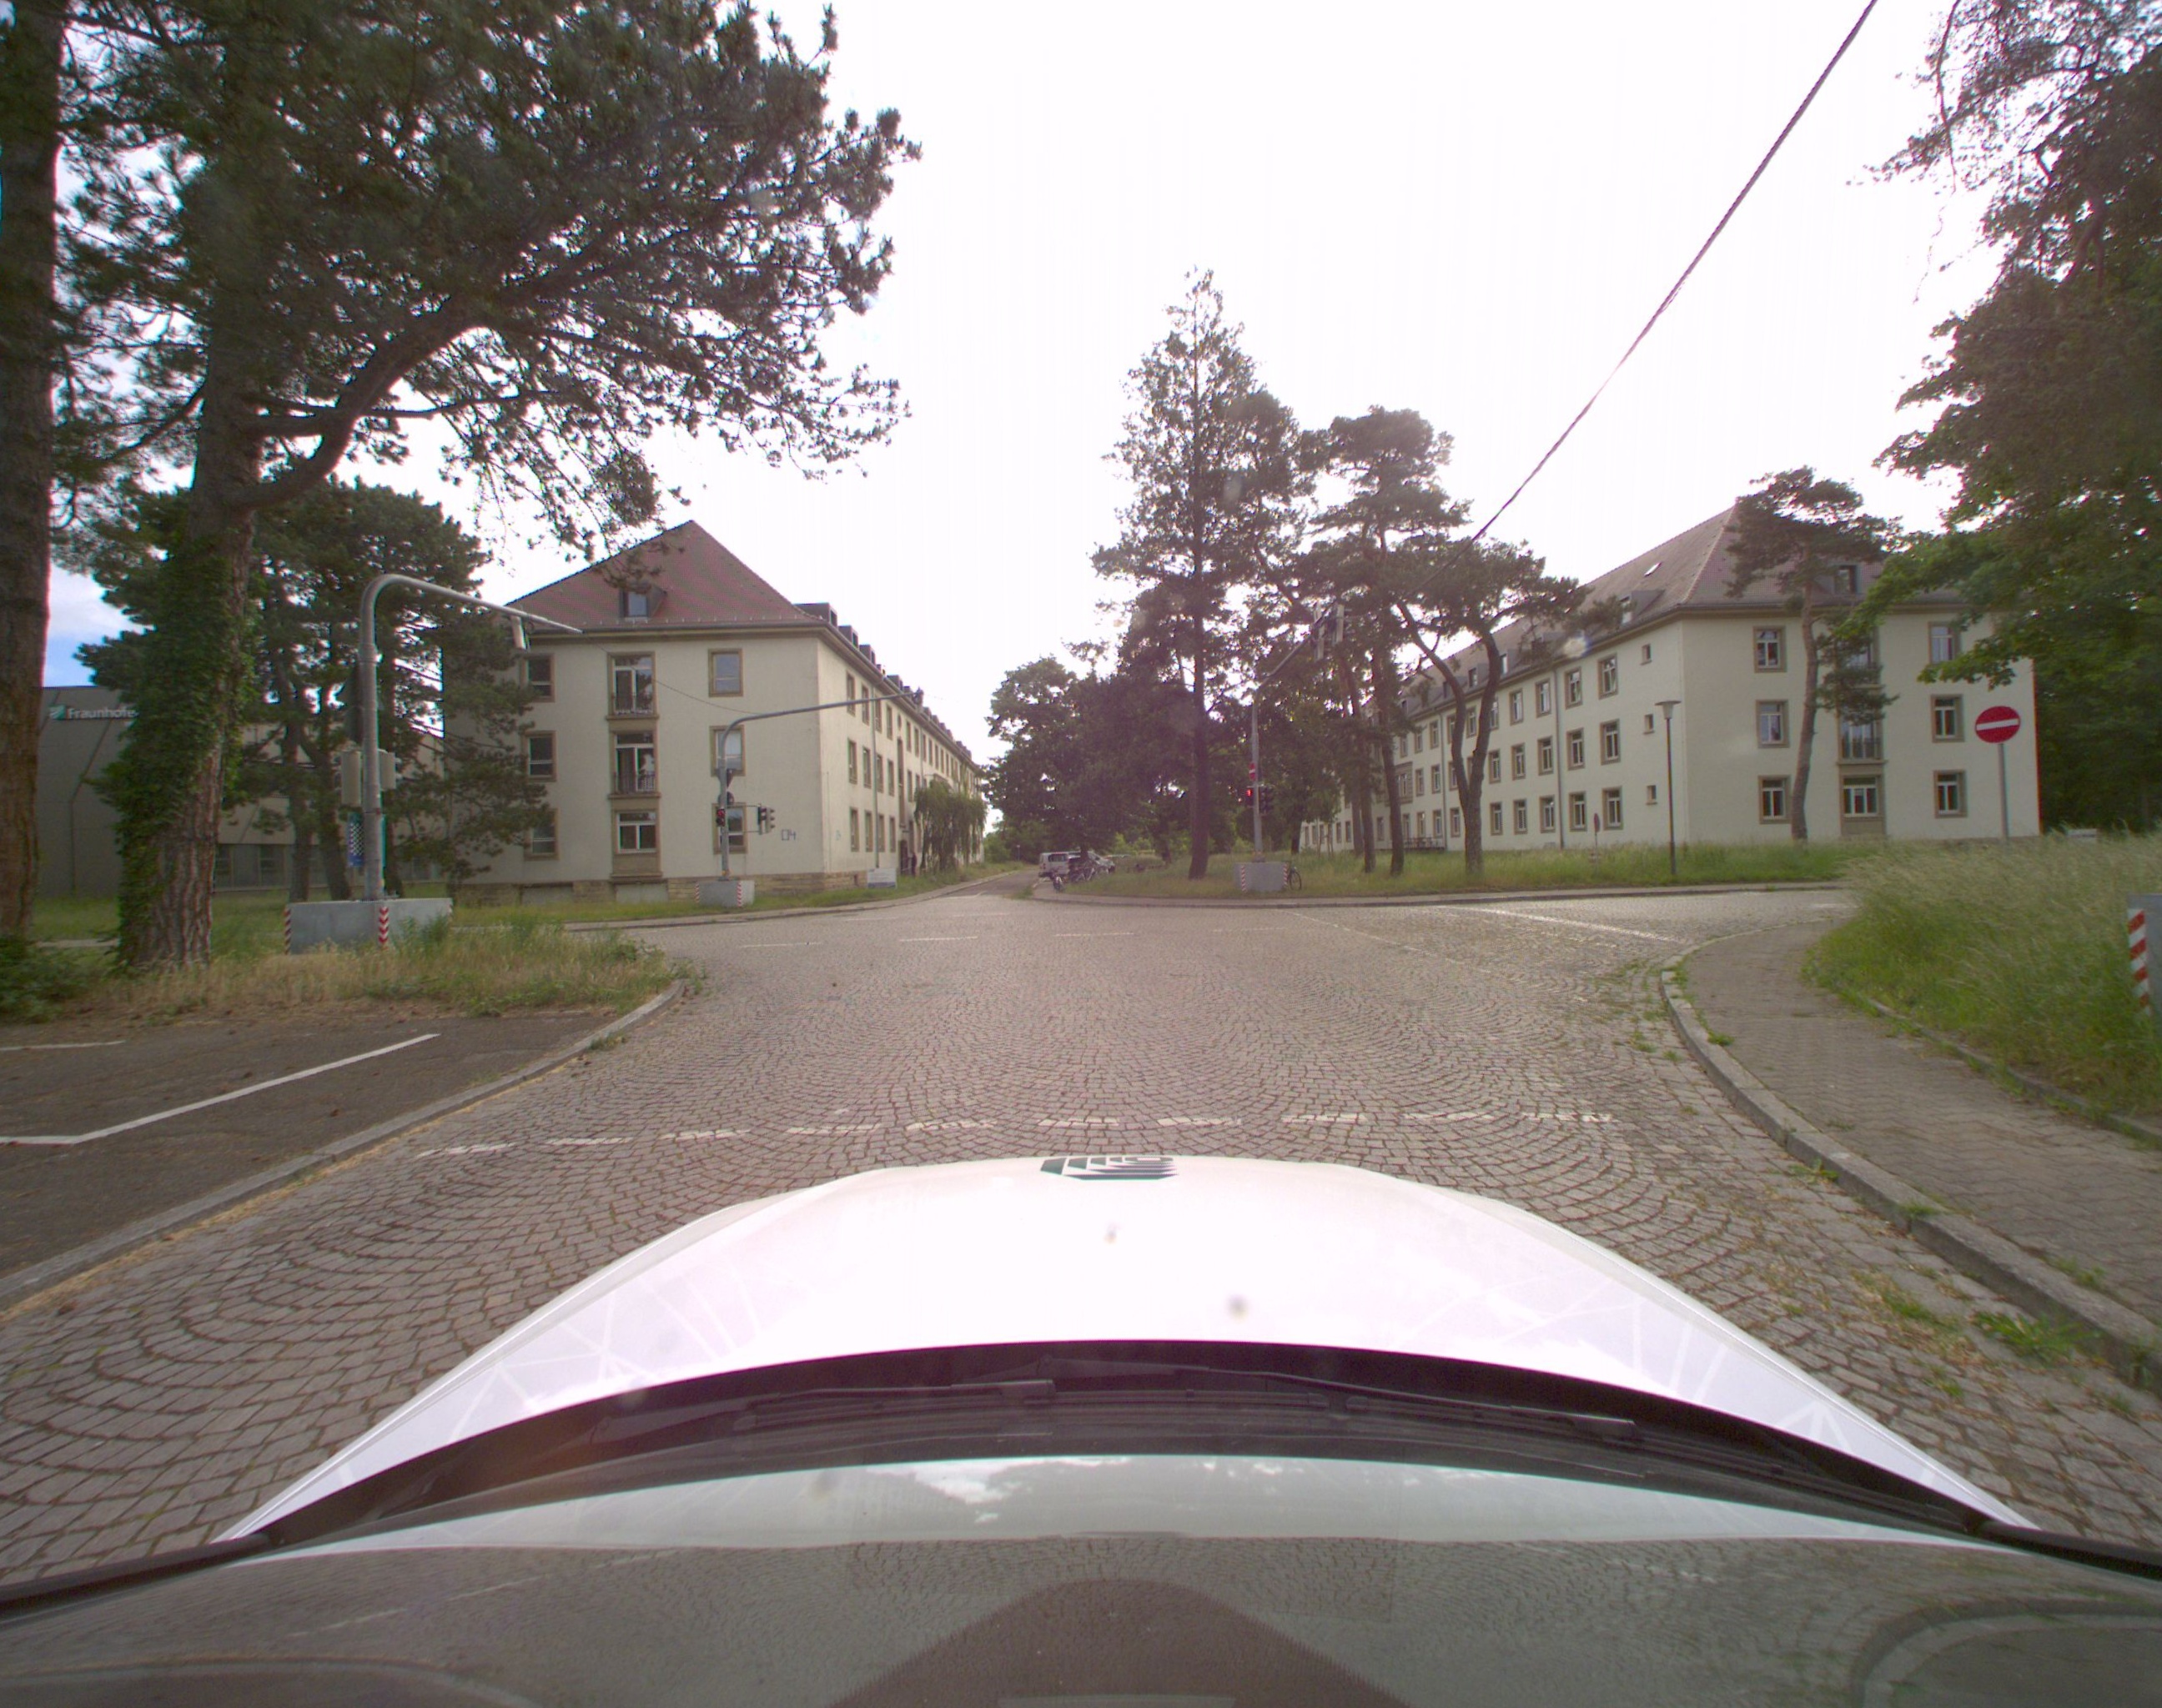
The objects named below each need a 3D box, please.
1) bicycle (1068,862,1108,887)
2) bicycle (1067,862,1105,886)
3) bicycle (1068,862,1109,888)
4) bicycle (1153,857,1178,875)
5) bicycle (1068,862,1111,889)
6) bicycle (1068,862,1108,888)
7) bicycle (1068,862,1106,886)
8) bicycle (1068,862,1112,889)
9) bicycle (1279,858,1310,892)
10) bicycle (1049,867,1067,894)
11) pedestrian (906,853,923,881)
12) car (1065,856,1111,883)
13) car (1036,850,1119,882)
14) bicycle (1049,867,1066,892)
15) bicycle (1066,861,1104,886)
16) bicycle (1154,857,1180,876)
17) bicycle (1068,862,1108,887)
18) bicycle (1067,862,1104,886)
[{"bbox_3d":[0.344,1.033,41.671,1.978,1.248,0.623,-1,-1,-3],"label":"bicycle"},{"bbox_3d":[0.270,1.052,43.261,1.978,1.248,0.623,-1,-1,-3],"label":"bicycle"},{"bbox_3d":[0.367,1.010,39.655,1.978,1.248,0.623,-1,-1,-3],"label":"bicycle"},{"bbox_3d":[5.509,0.792,53.006,1.544,1.125,0.401,-2,-1,0],"label":"bicycle"},{"bbox_3d":[0.401,0.999,38.729,1.978,1.248,0.623,-1,-1,-3],"label":"bicycle"},{"bbox_3d":[0.347,1.020,40.513,1.978,1.248,0.623,-1,-1,-3],"label":"bicycle"},{"bbox_3d":[0.303,1.046,42.748,1.978,1.248,0.623,-1,-1,-3],"label":"bicycle"},{"bbox_3d":[0.415,0.991,38.101,1.978,1.248,0.623,-1,-1,-3],"label":"bicycle"},{"bbox_3d":[6.743,0.655,25.823,0.578,0.970,1.679,-4,1,3],"label":"bicycle"},{"bbox_3d":[-0.953,1.101,34.694,0.620,1.113,1.990,-1,-1,2],"label":"bicycle"},{"bbox_3d":[-11.007,0.862,53.764,0.833,1.781,0.942,-2,0,4],"label":"pedestrian"},{"bbox_3d":[0.425,0.996,52.724,2.840,1.558,1.471,-2,1,-2],"label":"car"},{"bbox_3d":[-0.257,0.815,56.187,5.315,1.916,2.138,-2,0,-16],"label":"car"},{"bbox_3d":[-1.061,1.140,36.646,0.619,1.082,1.679,-1,-1,3],"label":"bicycle"},{"bbox_3d":[0.227,1.066,44.413,1.978,1.248,0.623,-3,-1,-3],"label":"bicycle"},{"bbox_3d":[5.458,0.781,51.774,1.544,1.125,0.401,-2,-1,0],"label":"bicycle"},{"bbox_3d":[0.339,1.027,41.146,1.978,1.248,0.623,-1,-1,-3],"label":"bicycle"},{"bbox_3d":[0.242,1.058,43.754,1.978,1.248,0.623,-1,-1,-3],"label":"bicycle"}]
